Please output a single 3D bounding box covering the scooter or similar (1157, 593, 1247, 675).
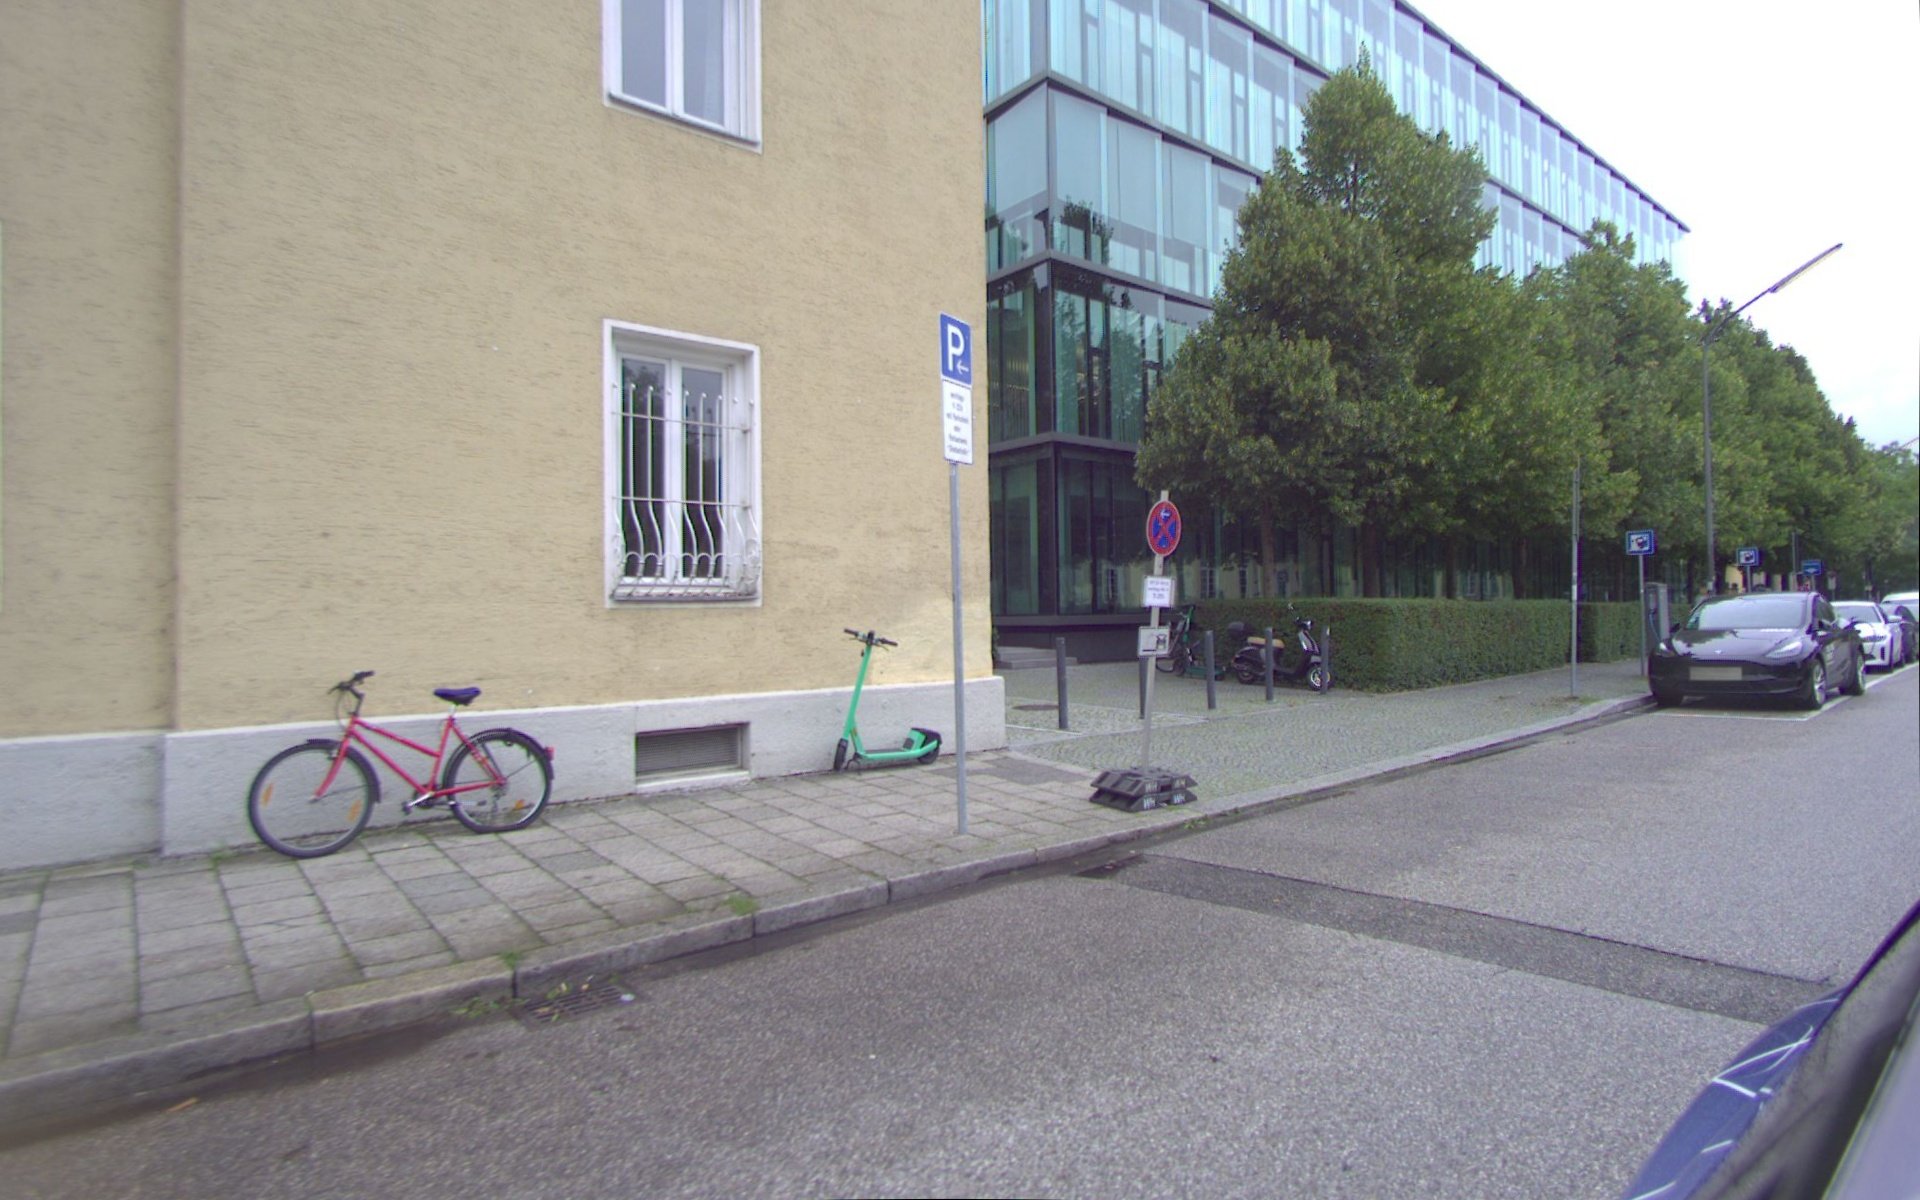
[{"bbox_3d":[4.124,0.551,17.309,0.659,1.318,1.349,-3,2,-44],"label":"scooter or similar"}]

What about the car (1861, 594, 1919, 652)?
[{"bbox_3d":[27.473,0.613,28.994,4.920,1.572,1.948,0,-2,-43],"label":"car"}]

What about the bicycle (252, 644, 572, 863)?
[{"bbox_3d":[-3.346,0.881,6.313,1.728,1.150,0.342,0,-1,-41],"label":"bicycle"}]

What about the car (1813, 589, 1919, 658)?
[{"bbox_3d":[23.068,0.565,25.240,4.764,1.572,1.965,0,-2,-41],"label":"car"}]

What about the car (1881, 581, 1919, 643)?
[{"bbox_3d":[31.628,0.359,33.027,4.495,1.920,1.787,0,-2,-41],"label":"car"}]

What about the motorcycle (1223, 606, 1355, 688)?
[{"bbox_3d":[5.160,0.702,15.965,0.695,1.147,1.898,0,2,-39],"label":"motorcycle"}]

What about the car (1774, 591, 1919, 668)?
[{"bbox_3d":[19.110,0.592,21.616,4.874,1.479,1.995,0,-2,-43],"label":"car"}]

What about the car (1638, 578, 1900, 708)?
[{"bbox_3d":[12.255,0.564,15.210,5.008,1.652,1.997,0,-2,-39],"label":"car"}]

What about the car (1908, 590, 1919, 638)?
[{"bbox_3d":[36.124,0.461,36.895,4.703,1.713,1.869,0,-2,-43],"label":"car"}]

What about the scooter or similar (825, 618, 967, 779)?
[{"bbox_3d":[-0.536,0.806,8.746,1.286,1.271,0.342,0,1,-41],"label":"scooter or similar"}]
